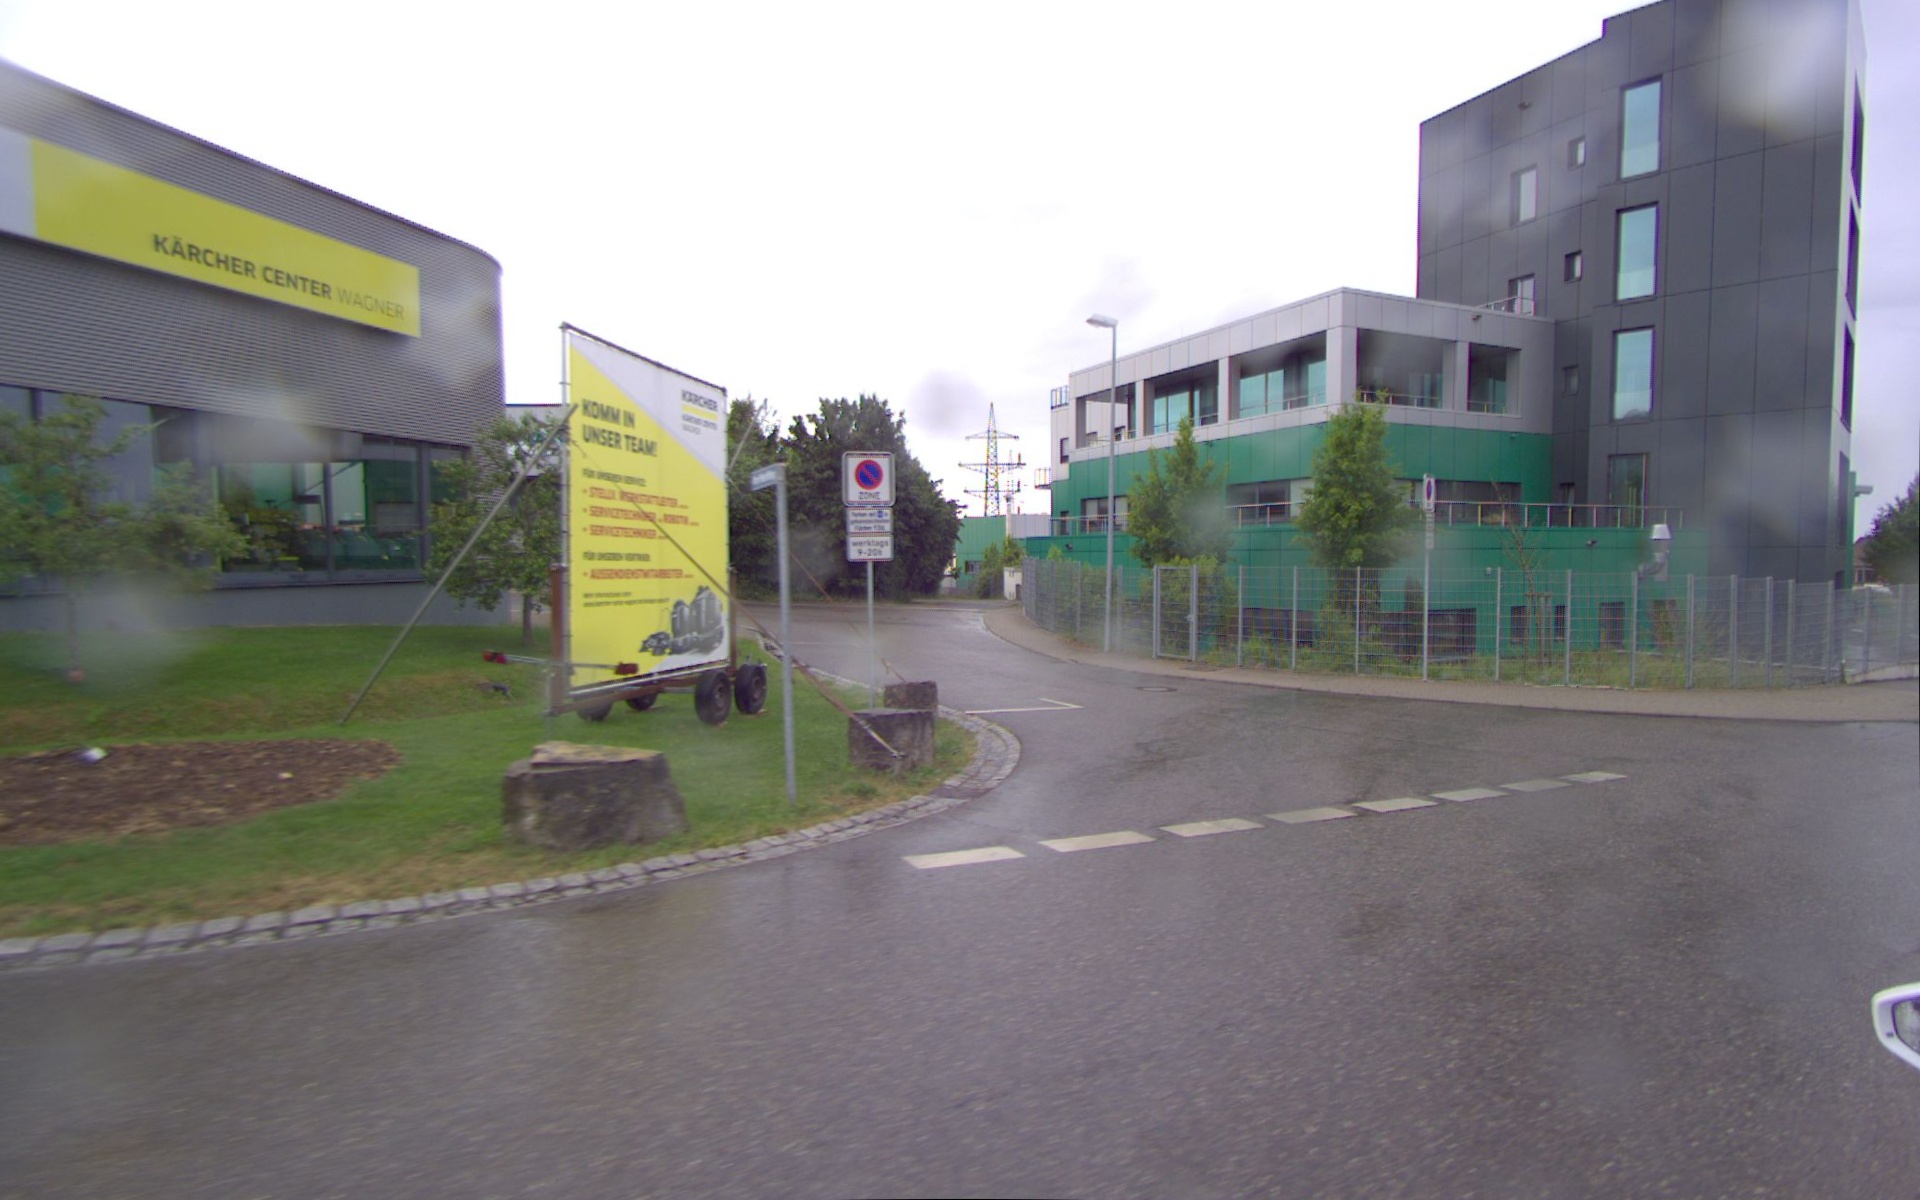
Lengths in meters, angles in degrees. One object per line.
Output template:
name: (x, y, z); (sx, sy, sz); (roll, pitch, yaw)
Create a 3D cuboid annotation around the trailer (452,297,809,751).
trailer: (-3.510, -0.725, 11.684); (1.965, 4.259, 4.189); (2, 0, 12)
